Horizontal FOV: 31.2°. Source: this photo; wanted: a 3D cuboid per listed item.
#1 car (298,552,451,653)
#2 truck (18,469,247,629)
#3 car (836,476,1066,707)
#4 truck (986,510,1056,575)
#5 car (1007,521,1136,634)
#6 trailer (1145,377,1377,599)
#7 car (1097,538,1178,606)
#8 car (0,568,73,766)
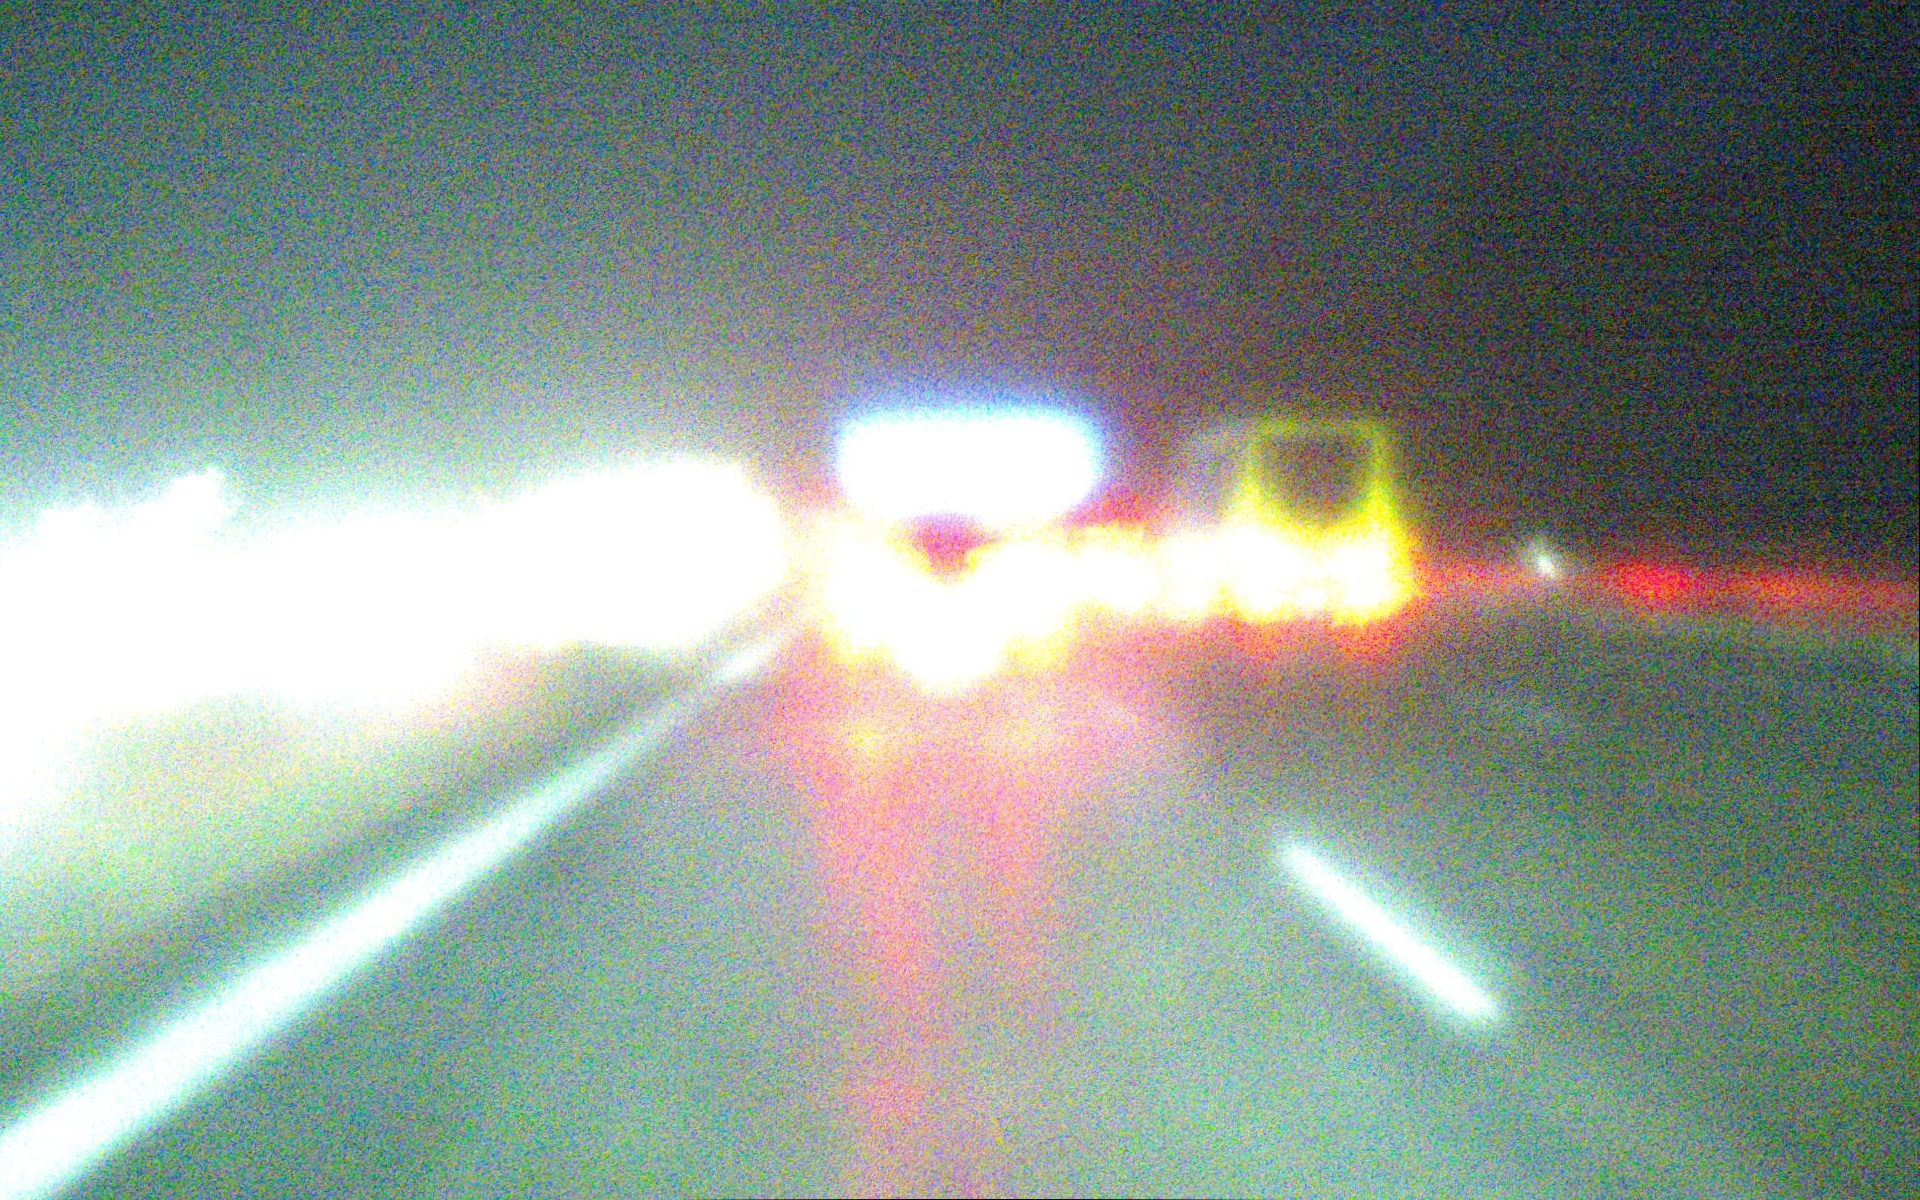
[{"bbox_3d":[-10.343,0.038,61.019,1.916,1.678,4.506,-2,0,0],"label":"car"},{"bbox_3d":[-18.335,-1.157,76.757,3.074,3.284,8.344,-2,1,-1],"label":"truck"},{"bbox_3d":[-0.104,-0.089,32.075,1.993,2.007,4.000,1,0,-1],"label":"car"},{"bbox_3d":[3.220,-3.021,184.075,3.037,3.286,11.382,-2,1,-2],"label":"truck"},{"bbox_3d":[2.075,-0.429,65.001,1.993,2.007,4.001,-2,1,-4],"label":"car"},{"bbox_3d":[6.033,-2.176,71.571,3.041,4.094,13.830,-2,1,-2],"label":"trailer"},{"bbox_3d":[5.520,-0.875,107.198,1.993,2.007,4.001,-2,1,-4],"label":"car"},{"bbox_3d":[-9.086,0.593,29.169,1.916,1.678,4.506,-2,0,0],"label":"car"}]
